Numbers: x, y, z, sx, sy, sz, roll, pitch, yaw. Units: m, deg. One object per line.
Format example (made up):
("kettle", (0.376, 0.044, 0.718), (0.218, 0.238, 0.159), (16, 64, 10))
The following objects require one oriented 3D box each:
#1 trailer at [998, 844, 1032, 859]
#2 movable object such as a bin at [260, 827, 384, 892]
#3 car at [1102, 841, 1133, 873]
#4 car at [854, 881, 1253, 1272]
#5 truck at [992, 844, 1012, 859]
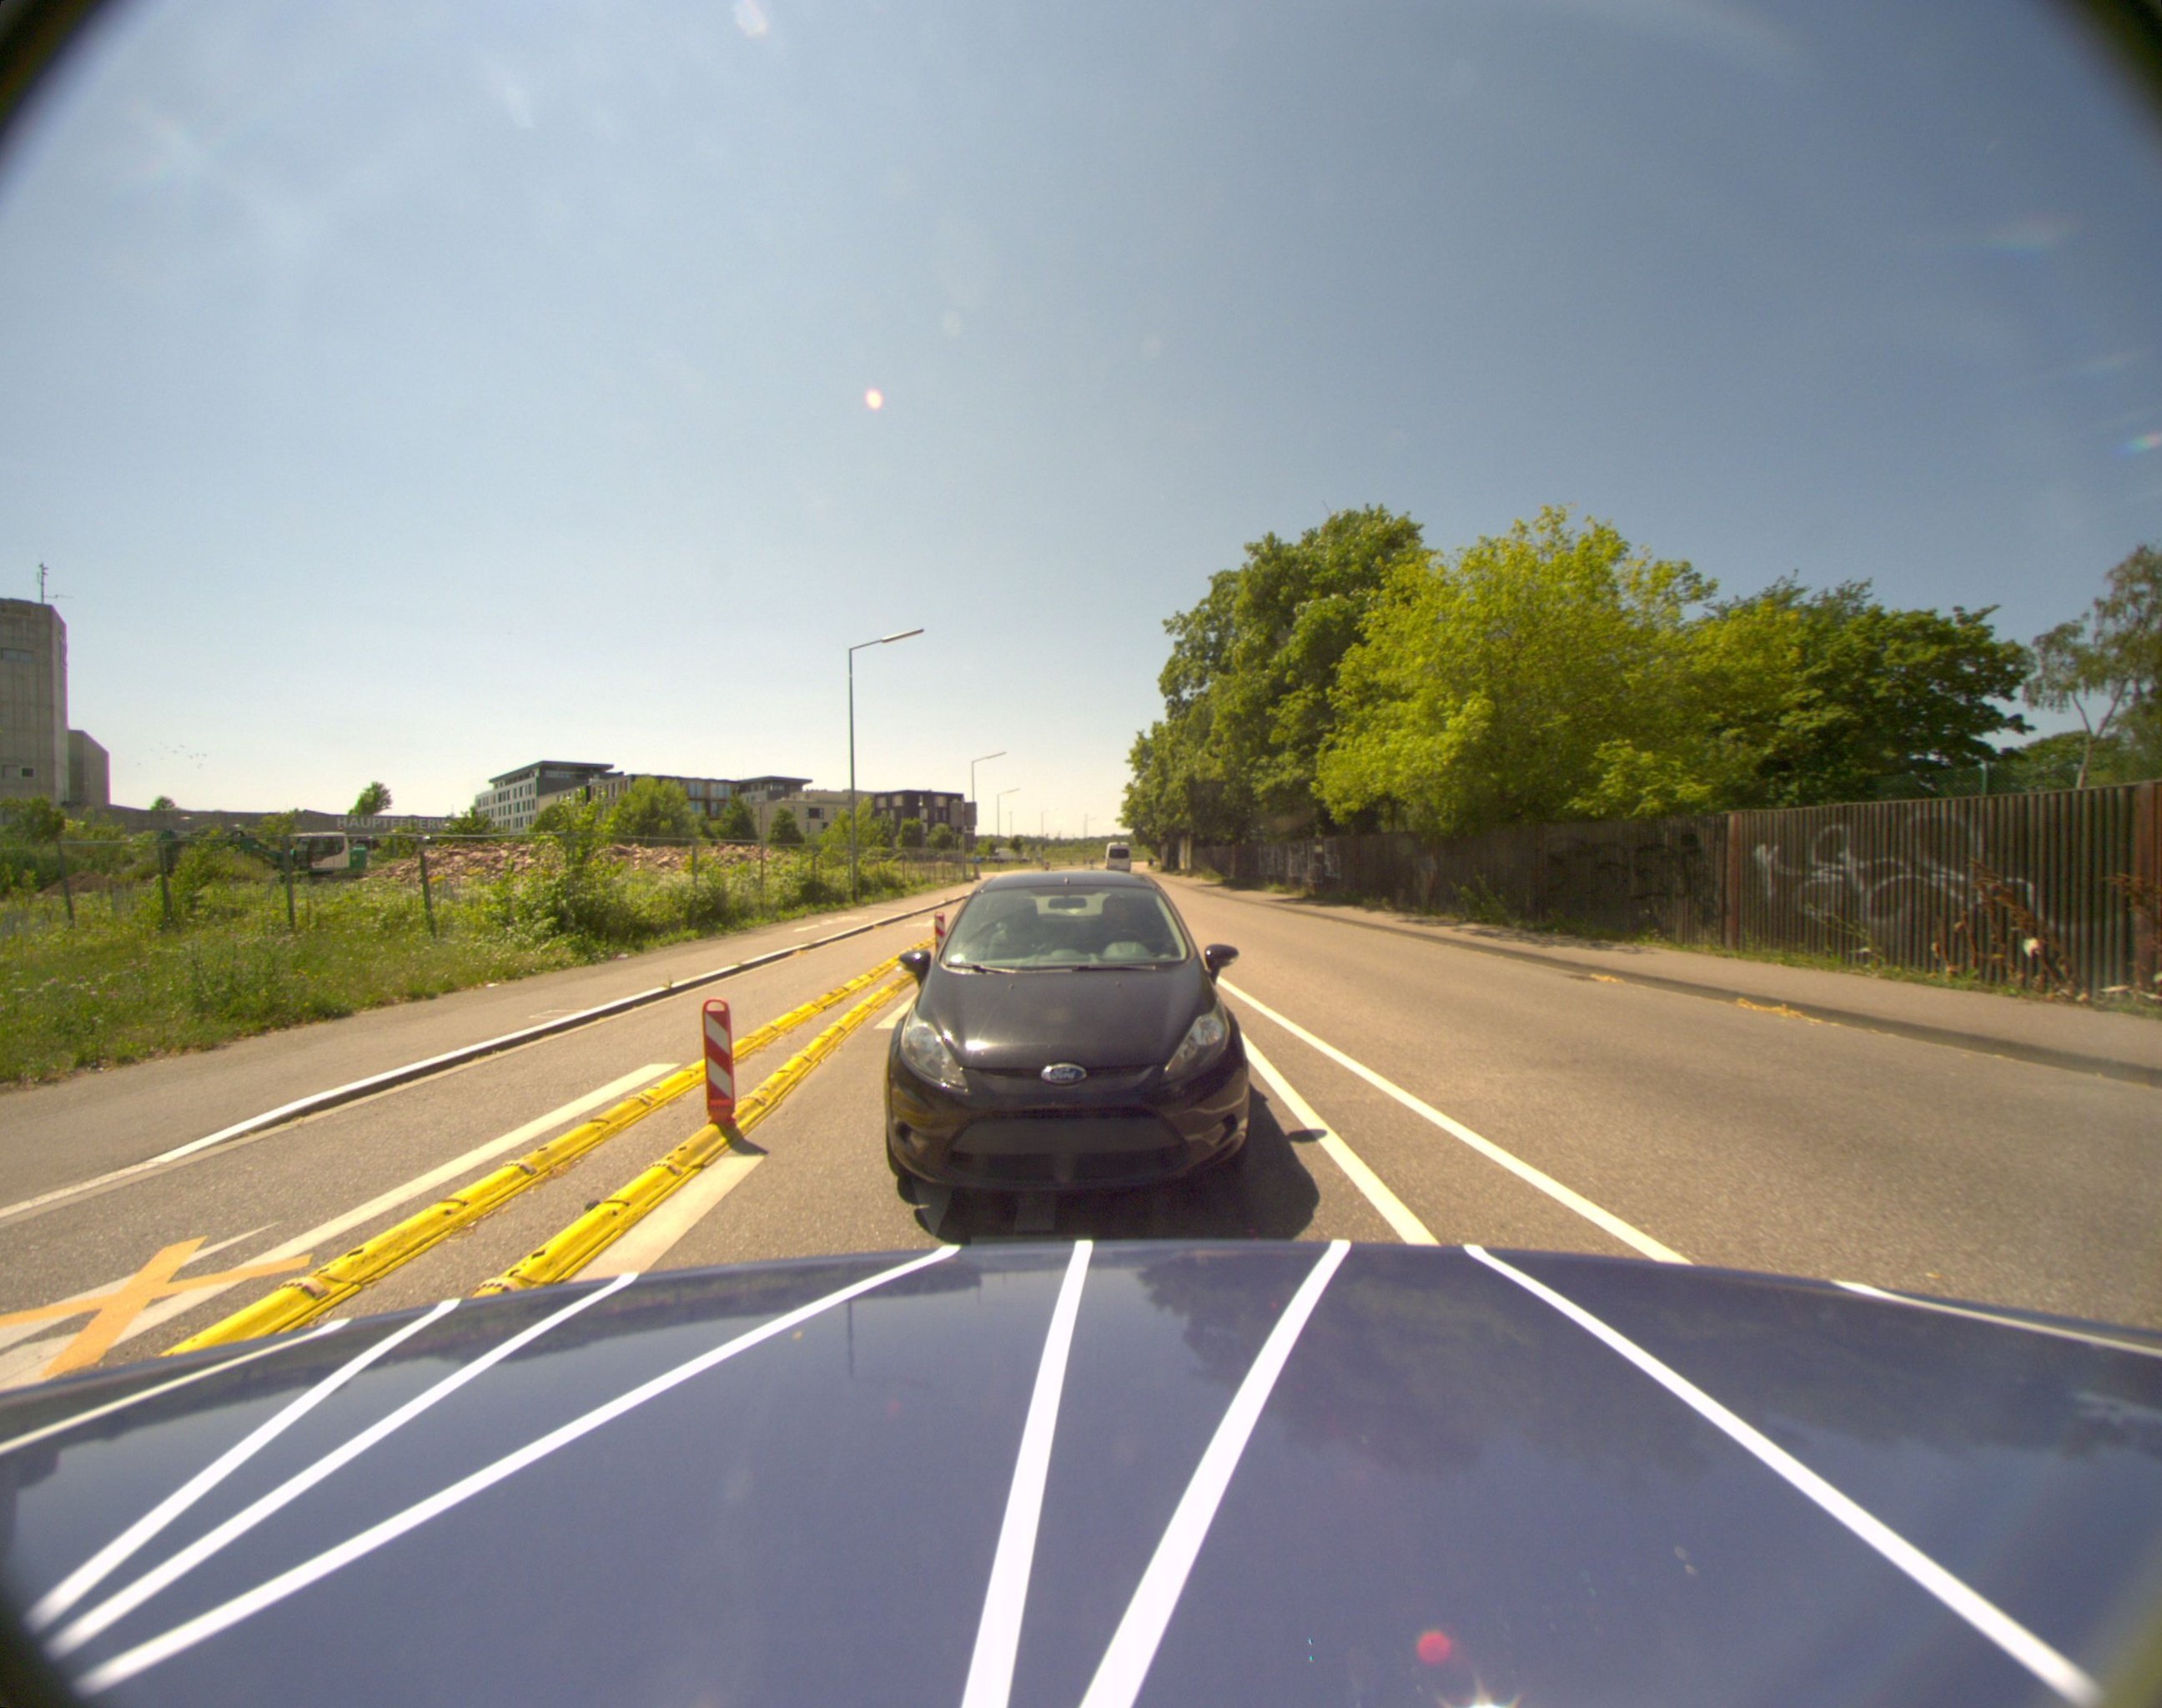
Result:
("trailer", (-15.105, -0.636, 174.437), (8.194, 3.329, 1.994), (-1, 0, -45))
("movable object such as a bin", (-37.618, 0.239, 37.777), (2.204, 3.045, 3.690), (-2, 1, 6))
("car", (2.988, 0.204, 63.661), (2.025, 2.524, 6.825), (0, 0, -2))
("car", (-0.092, 0.989, 5.123), (1.602, 1.422, 4.000), (-2, 0, 1))
("truck", (-17.862, -0.634, 171.697), (4.008, 3.316, 1.994), (-1, 1, -45))
